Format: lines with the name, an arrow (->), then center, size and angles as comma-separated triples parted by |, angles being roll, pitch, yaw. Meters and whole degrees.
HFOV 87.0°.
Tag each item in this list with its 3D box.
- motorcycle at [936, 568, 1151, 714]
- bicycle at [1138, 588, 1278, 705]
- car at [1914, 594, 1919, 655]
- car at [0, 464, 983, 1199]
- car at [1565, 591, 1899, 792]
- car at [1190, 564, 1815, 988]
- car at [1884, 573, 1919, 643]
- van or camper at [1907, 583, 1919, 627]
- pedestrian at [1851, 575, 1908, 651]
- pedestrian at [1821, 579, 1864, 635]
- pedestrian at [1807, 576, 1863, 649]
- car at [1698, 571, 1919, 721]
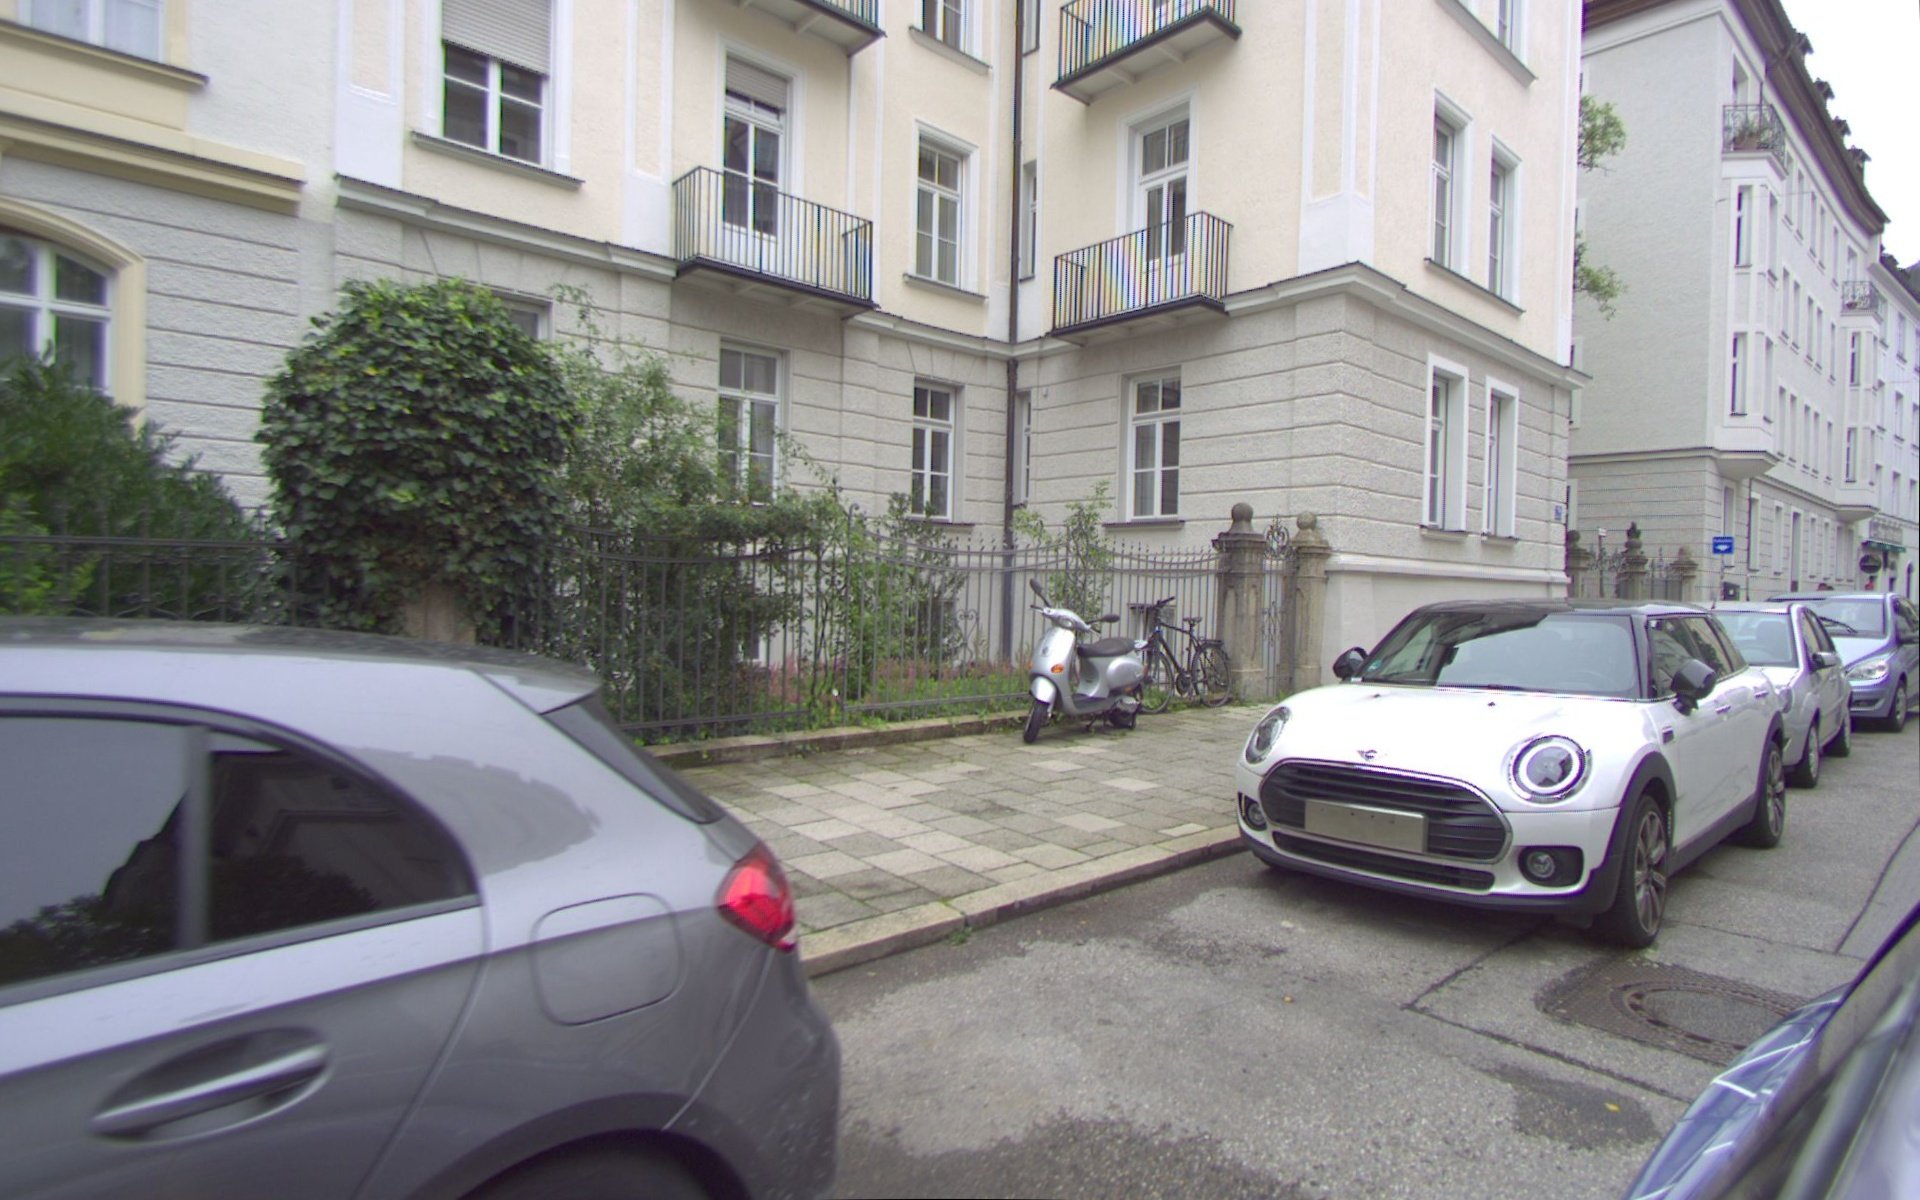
motorcycle -> 0.758, 0.308, 8.703 | 1.928, 1.126, 0.609 | 0, 2, -38
bicycle -> 2.657, 0.451, 10.718 | 1.849, 1.139, 0.435 | 0, 2, -41
car -> 25.636, 0.588, 25.571 | 4.343, 1.505, 1.763 | 0, -1, -41
car -> -1.955, 0.615, 1.240 | 3.951, 1.523, 1.685 | -1, 1, -44
car -> 7.033, 0.646, 9.120 | 3.392, 1.424, 1.757 | -1, 1, -41
car -> 3.216, 0.598, 5.634 | 3.994, 1.523, 1.787 | -1, 1, -41
car -> 22.176, 0.168, 22.362 | 4.629, 1.475, 1.998 | 0, 2, -40
van or camper -> 63.835, 0.400, 63.892 | 5.851, 2.748, 2.268 | 3, -1, 43
pedestrian -> 22.785, 0.300, 25.068 | 1.091, 1.834, 0.885 | 0, 1, -40
pedestrian -> 29.205, 0.216, 33.496 | 1.091, 1.836, 0.885 | 0, 1, -40
pedestrian -> 22.282, 0.294, 25.764 | 1.091, 1.809, 0.885 | 0, 1, -39
car -> 11.119, 0.494, 12.811 | 4.321, 1.589, 1.826 | 0, -1, -39
